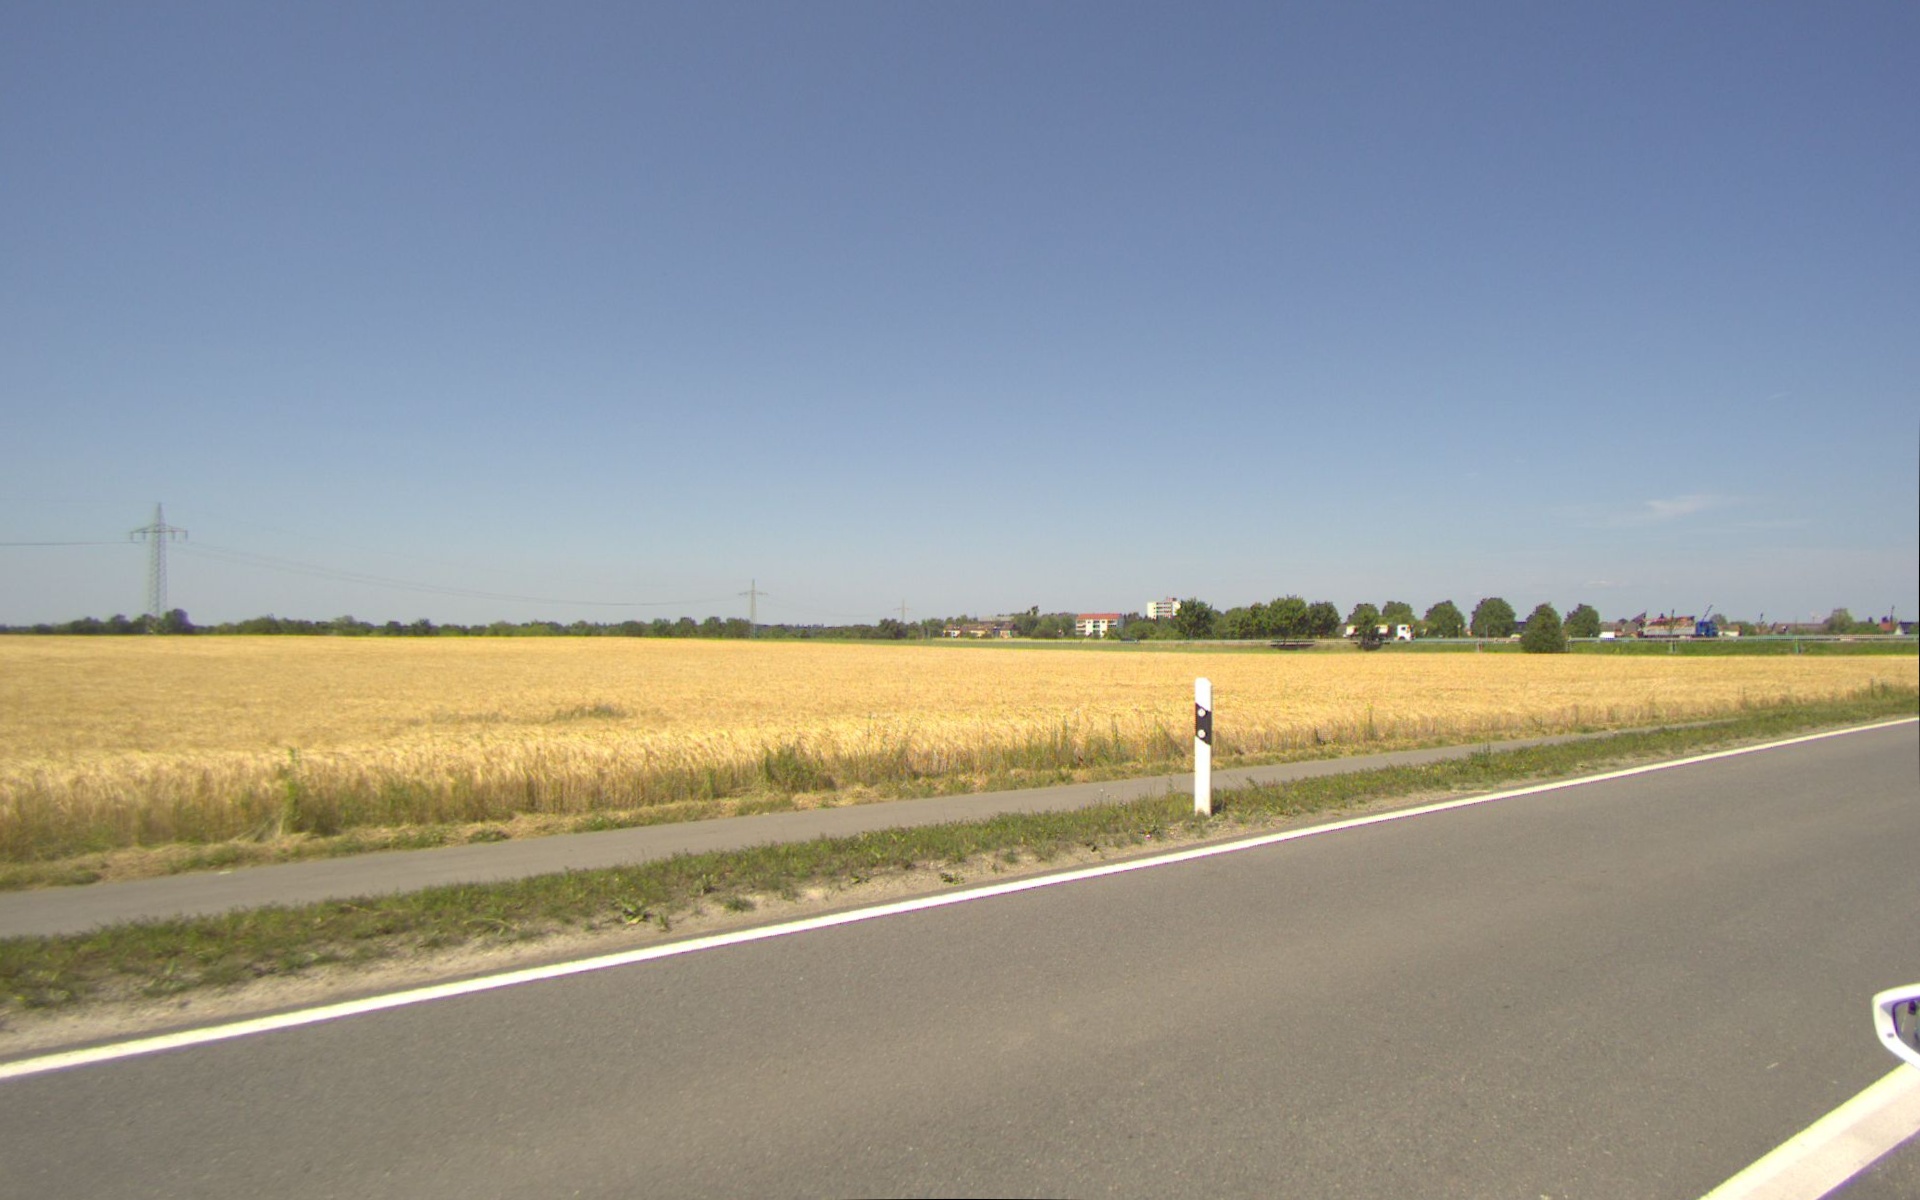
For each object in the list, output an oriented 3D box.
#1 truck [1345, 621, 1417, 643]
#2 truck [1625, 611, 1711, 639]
[{"bbox_3d":[75.794,5.717,181.021,2.962,3.662,11.874,1,-1,-43],"label":"truck"},{"bbox_3d":[102.314,3.543,145.316,2.597,3.844,10.023,1,-1,-33],"label":"truck"}]
